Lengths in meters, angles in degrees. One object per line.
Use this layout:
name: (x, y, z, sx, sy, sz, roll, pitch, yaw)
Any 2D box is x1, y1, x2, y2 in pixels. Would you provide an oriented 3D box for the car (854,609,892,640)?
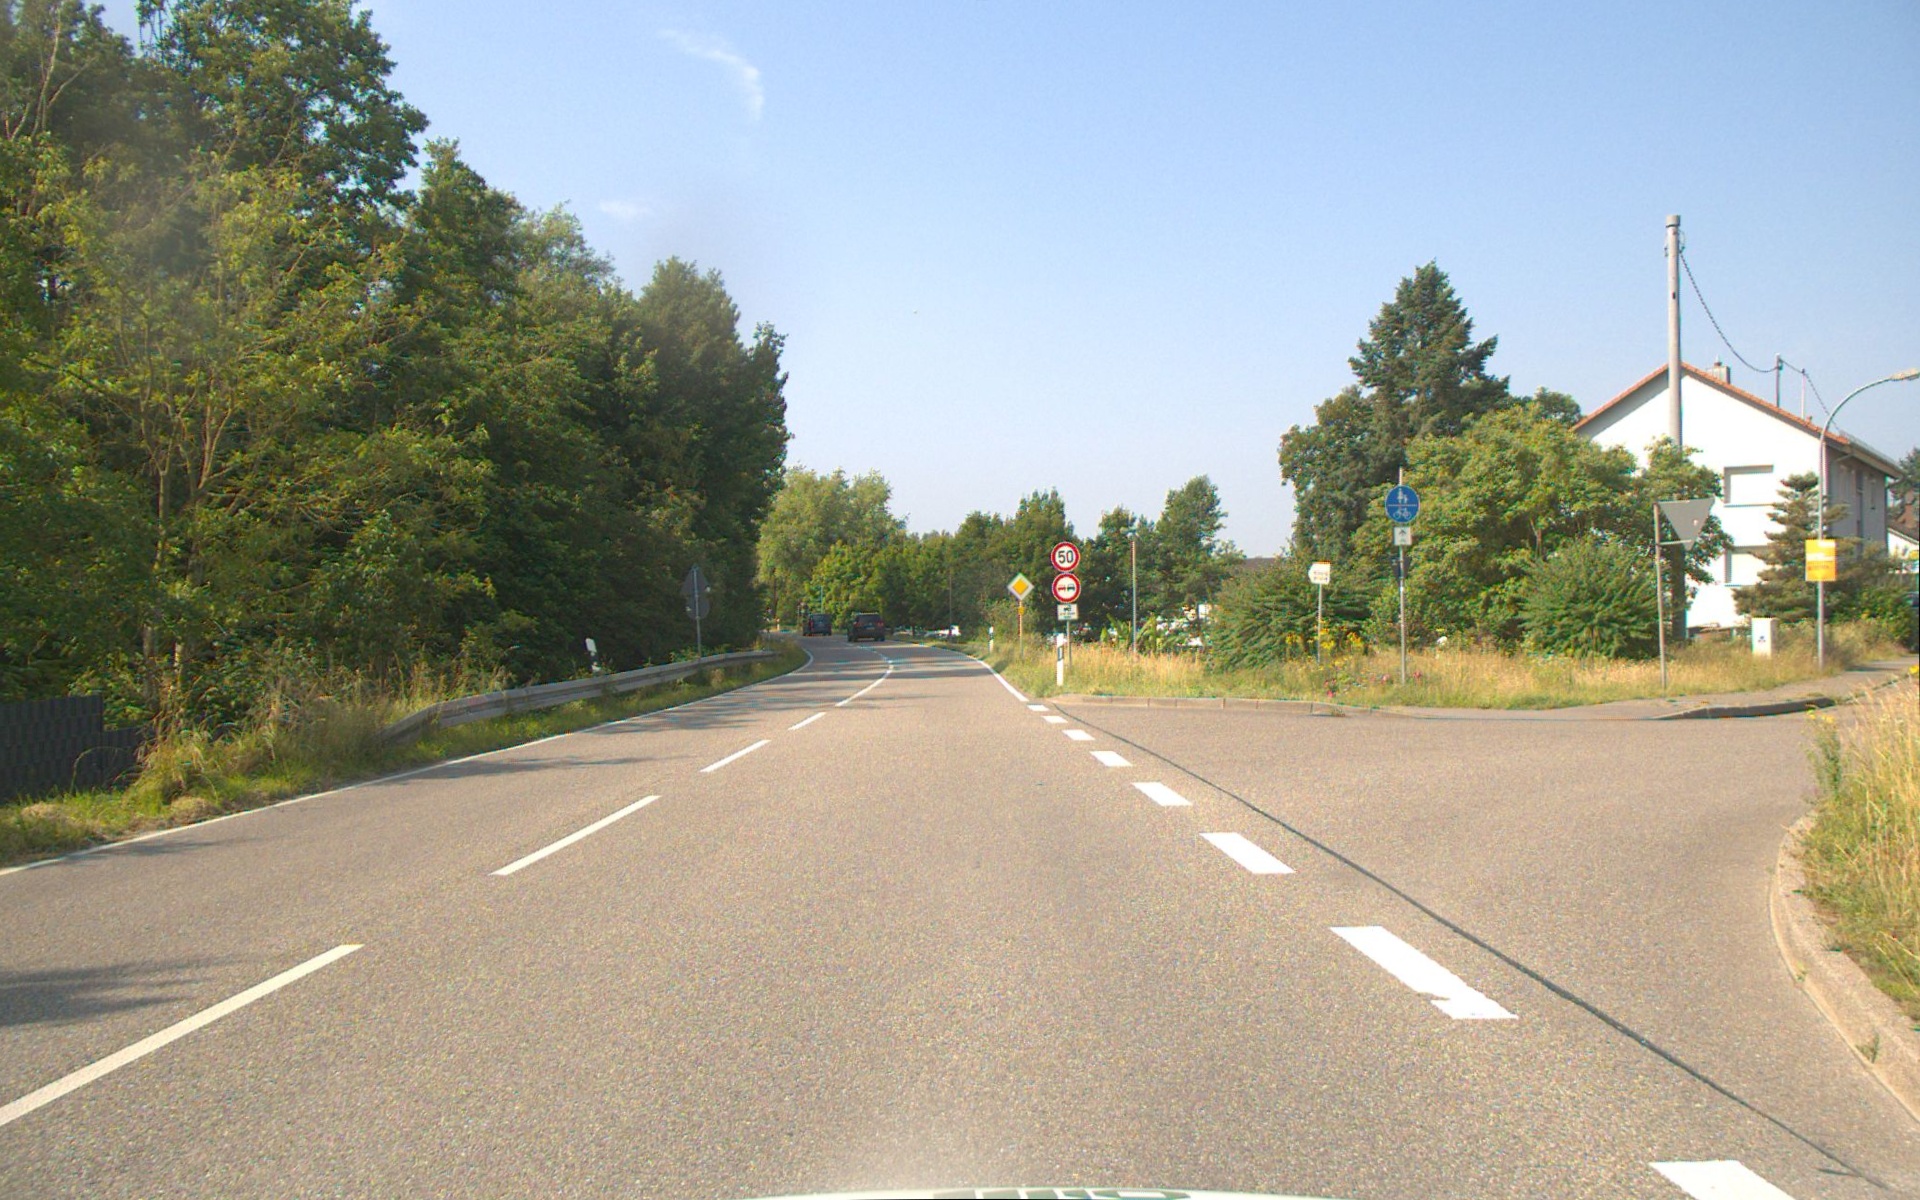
car: (-5.267, 1.461, 99.685, 1.889, 1.802, 3.992, 0, 0, -9)

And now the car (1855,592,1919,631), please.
car: (43.301, 0.553, 75.143, 4.379, 1.728, 1.761, 1, 0, 41)

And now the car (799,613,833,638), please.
car: (-10.763, 1.877, 123.404, 1.971, 1.802, 3.984, 0, 0, -15)
